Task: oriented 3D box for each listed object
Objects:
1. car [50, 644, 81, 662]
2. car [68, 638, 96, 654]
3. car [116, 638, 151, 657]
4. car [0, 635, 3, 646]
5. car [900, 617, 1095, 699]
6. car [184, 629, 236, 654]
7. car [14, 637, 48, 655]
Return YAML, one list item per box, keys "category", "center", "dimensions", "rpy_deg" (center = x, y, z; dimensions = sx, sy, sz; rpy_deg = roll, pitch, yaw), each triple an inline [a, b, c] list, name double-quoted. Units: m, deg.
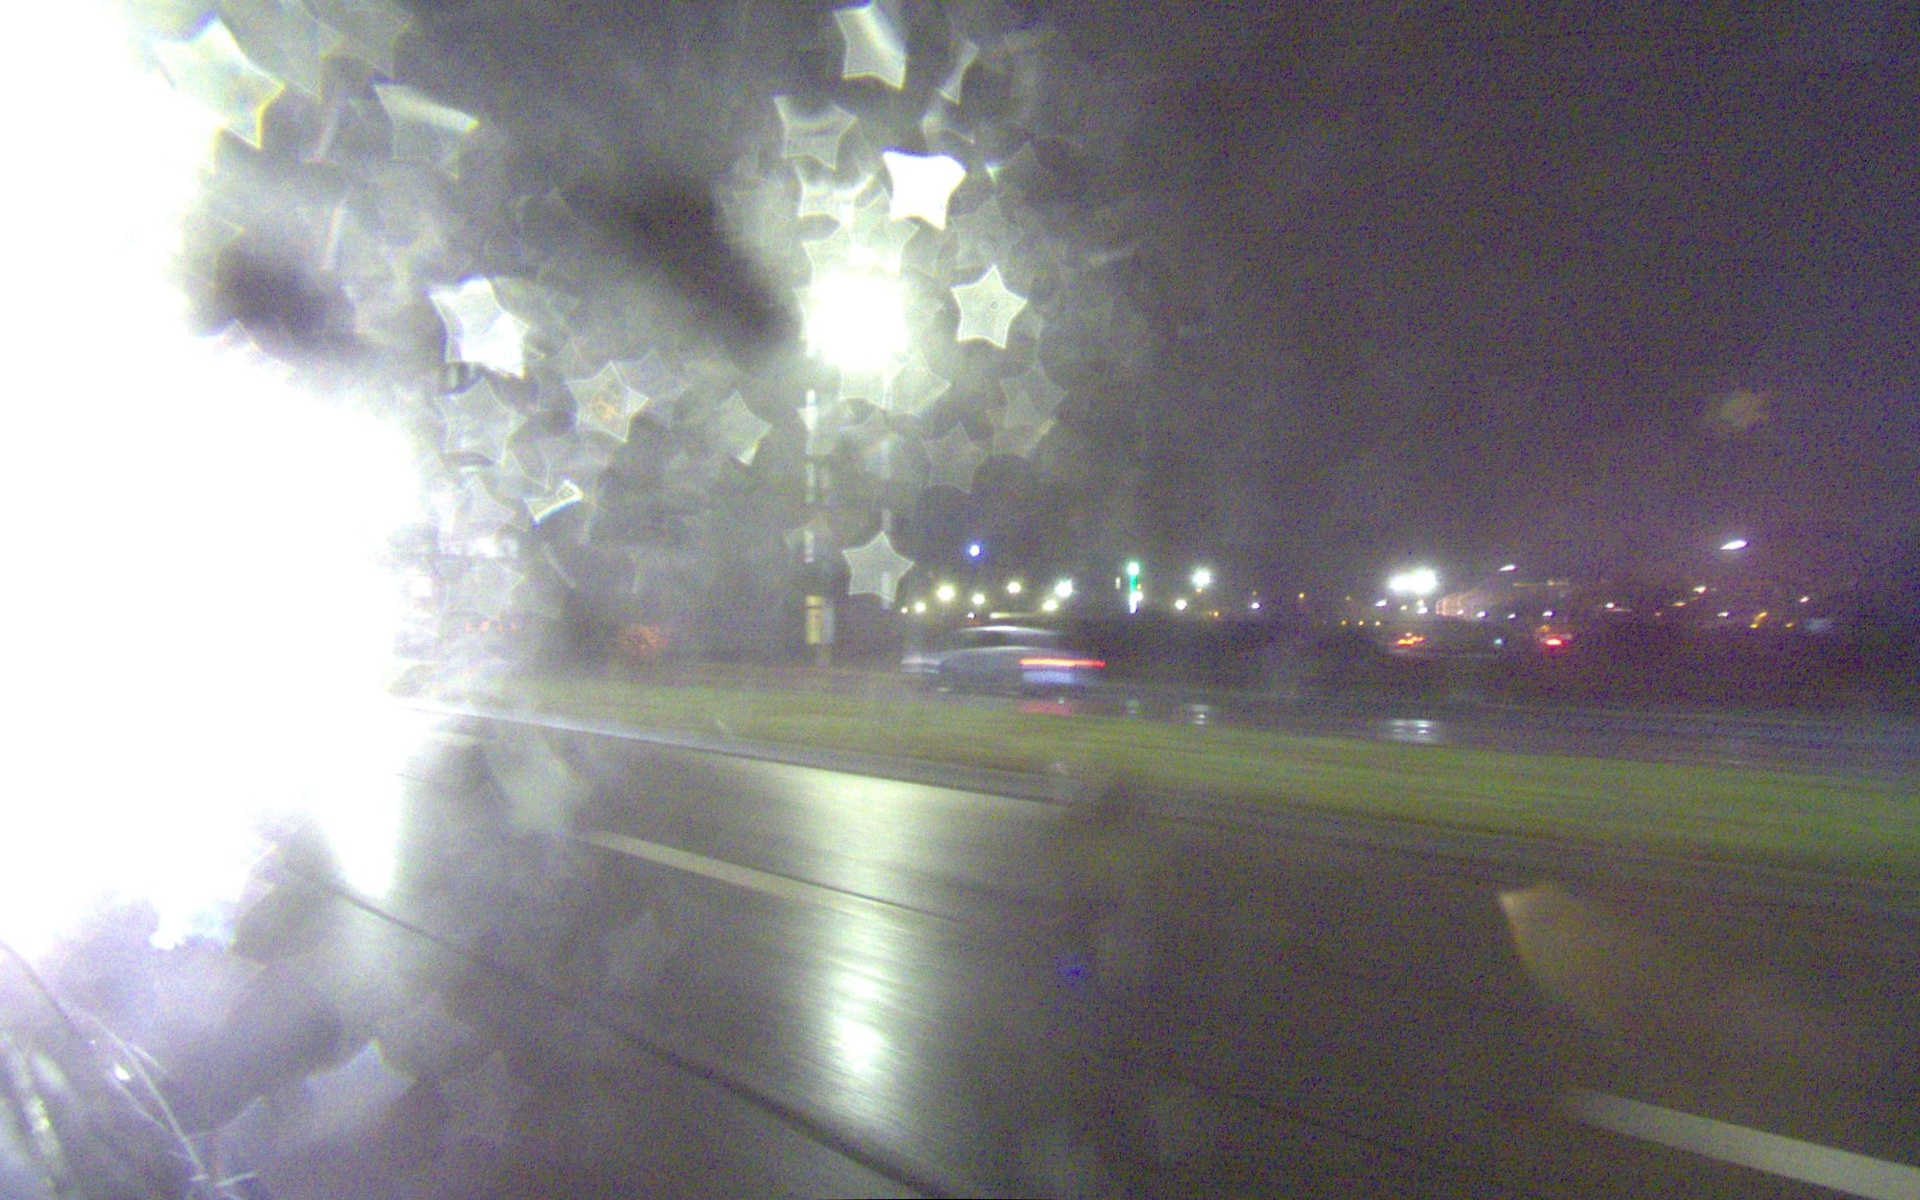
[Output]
- category: "car"
  center: [-87.381, 5.154, 98.846]
  dimensions: [4.365, 1.605, 1.823]
  rpy_deg: [-2, -2, 43]
- category: "car"
  center: [-93.787, 4.919, 108.112]
  dimensions: [4.365, 1.605, 1.823]
  rpy_deg: [-2, -2, 43]
- category: "car"
  center: [-74.330, 4.284, 90.970]
  dimensions: [4.365, 1.605, 1.823]
  rpy_deg: [-2, -2, 43]
- category: "car"
  center: [-123.108, 5.132, 128.413]
  dimensions: [5.554, 1.369, 1.824]
  rpy_deg: [-2, -2, 40]
- category: "car"
  center: [0.816, 1.300, 23.805]
  dimensions: [4.438, 1.726, 1.810]
  rpy_deg: [-2, -2, 41]
- category: "car"
  center: [-53.314, 2.955, 71.913]
  dimensions: [4.545, 1.697, 2.003]
  rpy_deg: [-2, -2, 41]
- category: "car"
  center: [-81.761, 4.009, 89.077]
  dimensions: [4.365, 1.498, 1.823]
  rpy_deg: [-2, -2, 43]
